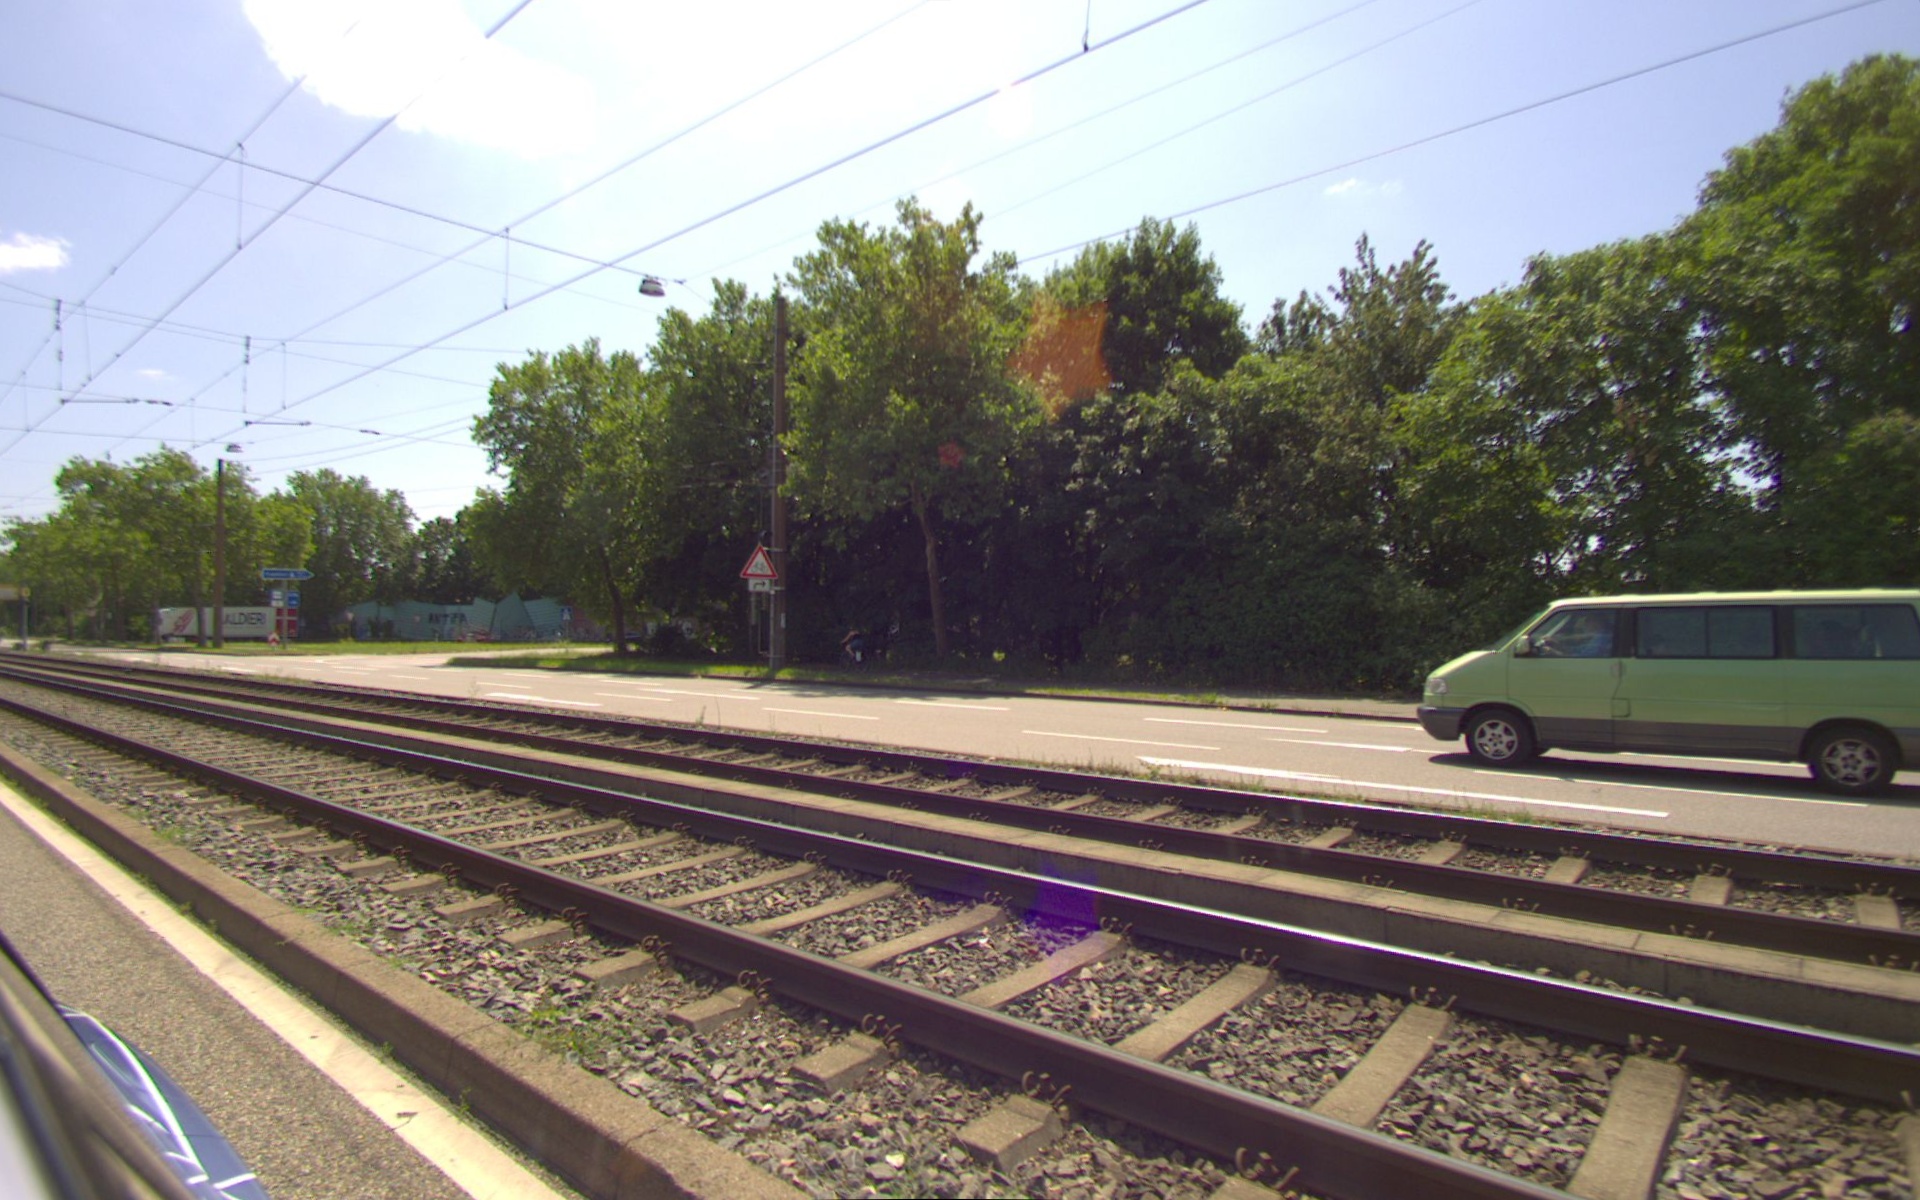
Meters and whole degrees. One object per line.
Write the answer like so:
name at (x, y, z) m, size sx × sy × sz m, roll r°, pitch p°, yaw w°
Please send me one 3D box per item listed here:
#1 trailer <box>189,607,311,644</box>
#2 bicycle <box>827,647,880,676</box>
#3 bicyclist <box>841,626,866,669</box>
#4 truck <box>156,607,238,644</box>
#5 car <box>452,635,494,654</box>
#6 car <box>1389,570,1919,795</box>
trailer at (-72.810, 2.626, 103.743) m, size 11.997 × 3.683 × 3.371 m, roll -1°, pitch -2°, yaw 16°
bicycle at (-3.536, 2.027, 33.524) m, size 0.579 × 0.825 × 2.070 m, roll -1°, pitch 1°, yaw -44°
bicyclist at (-3.524, 1.560, 33.480) m, size 0.562 × 1.378 × 0.632 m, roll 0°, pitch 0°, yaw -45°
truck at (-79.626, 2.704, 105.655) m, size 6.699 × 3.730 × 3.401 m, roll -1°, pitch -2°, yaw 16°
car at (-46.025, 4.207, 95.648) m, size 3.367 × 1.806 × 1.557 m, roll 0°, pitch -2°, yaw 15°
car at (7.463, 0.765, 10.608) m, size 5.176 × 1.940 × 1.792 m, roll -1°, pitch -3°, yaw 41°
